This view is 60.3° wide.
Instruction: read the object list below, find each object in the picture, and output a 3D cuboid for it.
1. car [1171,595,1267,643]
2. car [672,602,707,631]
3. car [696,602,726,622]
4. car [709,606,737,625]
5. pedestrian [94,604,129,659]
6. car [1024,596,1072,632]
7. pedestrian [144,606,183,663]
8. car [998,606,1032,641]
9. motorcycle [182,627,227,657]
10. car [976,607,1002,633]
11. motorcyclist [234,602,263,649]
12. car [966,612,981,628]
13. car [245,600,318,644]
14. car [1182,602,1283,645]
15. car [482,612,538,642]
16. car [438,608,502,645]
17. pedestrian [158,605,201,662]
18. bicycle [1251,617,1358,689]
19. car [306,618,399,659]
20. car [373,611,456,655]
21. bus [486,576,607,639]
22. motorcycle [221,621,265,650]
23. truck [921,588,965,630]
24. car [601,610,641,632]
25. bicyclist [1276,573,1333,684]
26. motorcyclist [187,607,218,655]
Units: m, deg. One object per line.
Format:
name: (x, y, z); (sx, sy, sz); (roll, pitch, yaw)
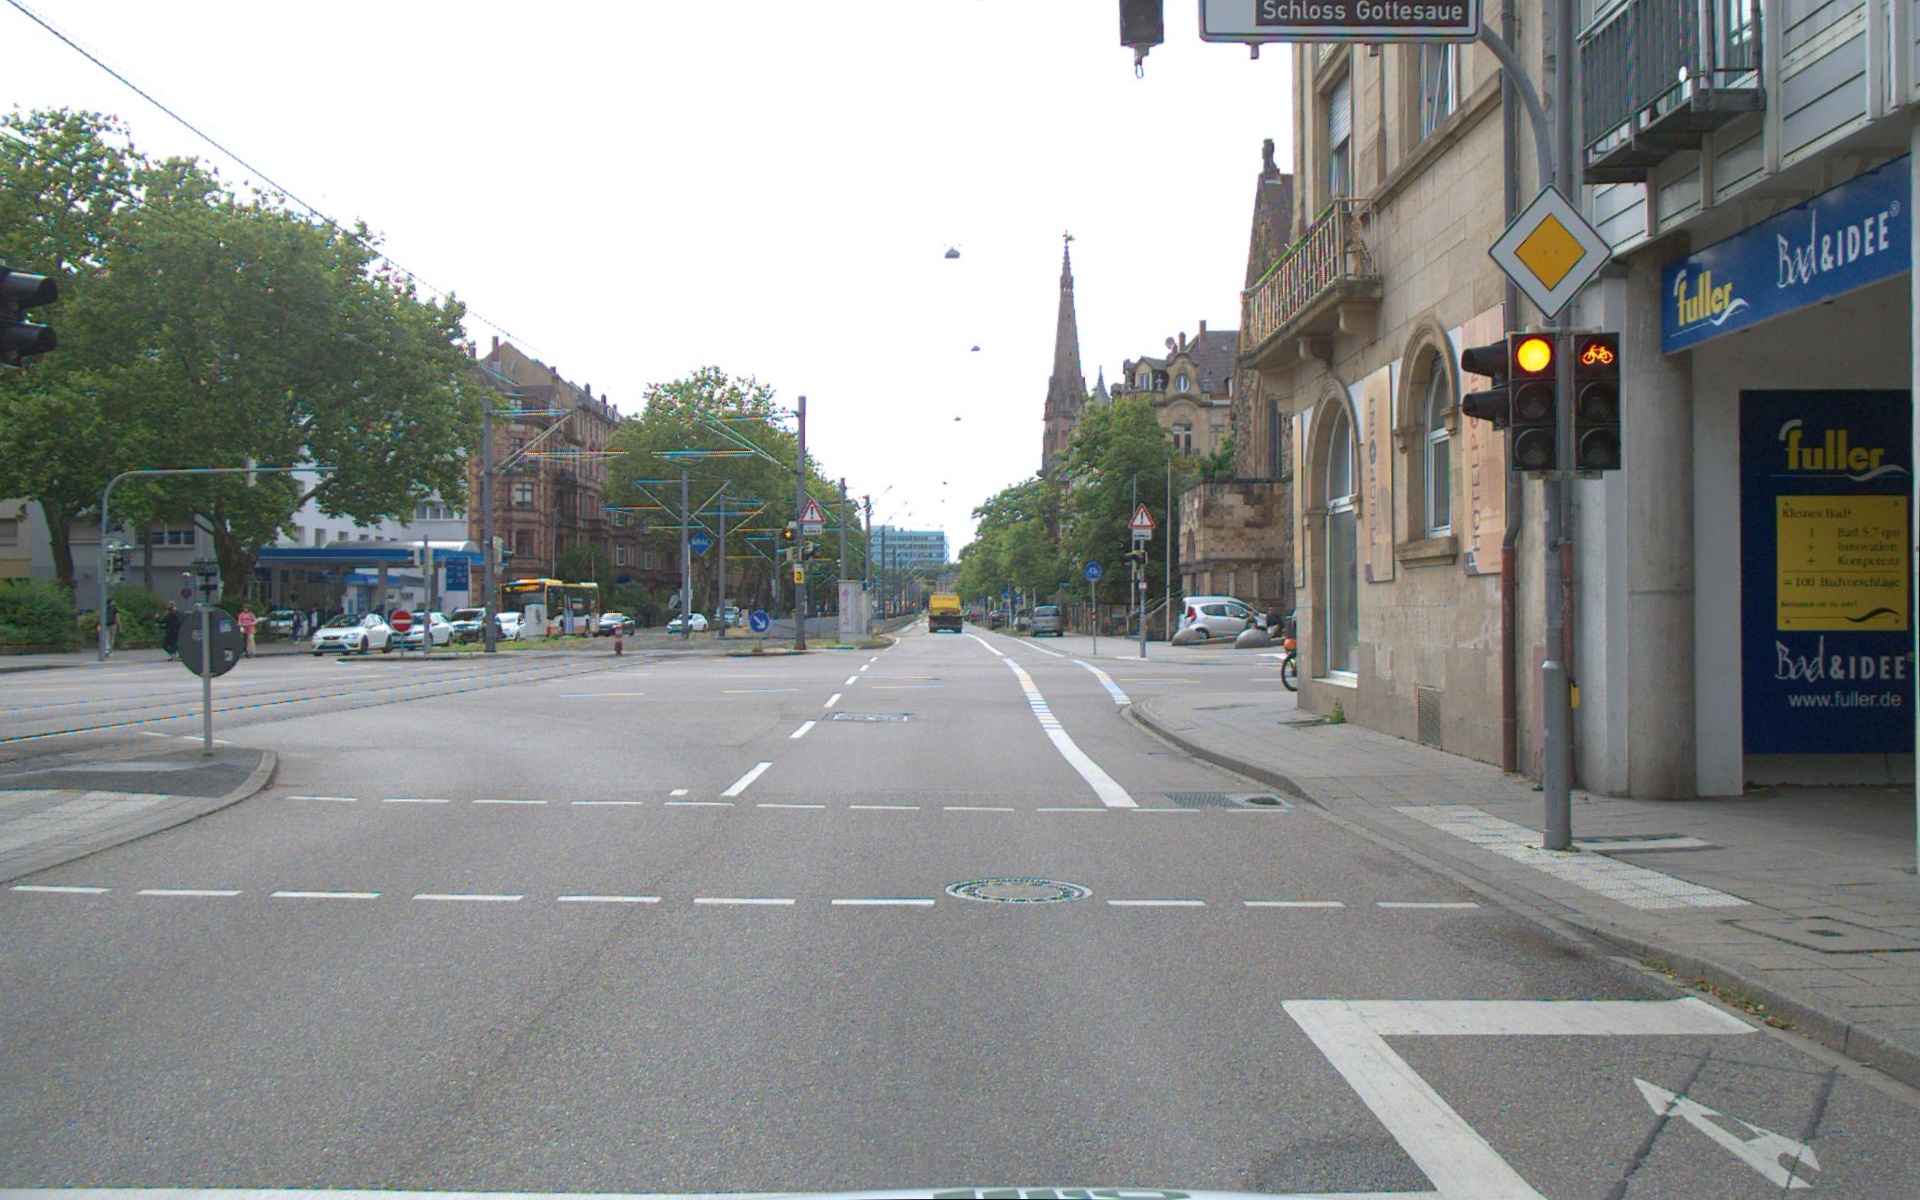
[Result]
car: (10.692, 0.790, 68.561); (3.638, 1.888, 2.000); (1, 0, -1)
car: (-20.086, 1.208, 122.884); (1.953, 2.049, 3.999); (1, 0, -1)
car: (-21.224, 1.017, 141.185); (1.953, 1.639, 3.999); (1, 0, -1)
car: (-21.341, 1.374, 148.995); (1.953, 1.639, 3.999); (1, 0, -1)
pedestrian: (-27.123, 1.001, 52.896); (0.669, 1.720, 0.742); (1, -1, 4)
car: (4.815, 0.766, 90.052); (1.951, 1.888, 4.030); (1, 0, 12)
pedestrian: (-24.480, 1.061, 50.827); (0.848, 1.743, 0.691); (0, 0, 14)
car: (3.288, 1.415, 99.670); (1.952, 2.049, 4.000); (1, 0, 1)
motorcycle: (-24.678, 1.366, 54.081); (0.594, 0.945, 1.951); (0, 0, 0)
car: (2.375, 1.620, 136.006); (1.953, 2.049, 3.999); (1, 0, -1)
motorcyclist: (-23.658, 0.854, 55.010); (0.607, 1.546, 0.873); (0, 0, -1)
car: (1.762, 2.650, 216.828); (1.953, 2.049, 3.999); (1, 0, -1)
car: (-32.932, 1.046, 80.380); (1.953, 2.049, 3.999); (0, 0, -1)
car: (10.676, 0.922, 65.036); (3.638, 1.591, 2.000); (1, 0, -1)
car: (-21.379, 1.280, 78.703); (1.622, 1.344, 3.638); (1, 0, 1)
car: (-21.222, 1.135, 71.785); (1.622, 1.504, 3.638); (1, 0, 1)
pedestrian: (-24.327, 1.042, 51.549); (0.853, 1.743, 0.876); (0, 0, 17)
bicycle: (6.427, 0.972, 30.797); (1.970, 1.294, 0.743); (1, -1, -31)
car: (-21.491, 1.327, 58.624); (1.711, 1.344, 4.075); (1, 0, 1)
car: (-21.422, 1.283, 65.131); (1.953, 1.622, 3.999); (1, 0, -1)
bus: (-21.966, 0.413, 88.757); (3.164, 3.088, 12.312); (1, 0, 1)
motorcycle: (-23.689, 1.164, 54.675); (0.594, 0.945, 1.951); (0, 0, 0)
truck: (-1.209, 0.618, 117.612); (2.993, 2.817, 9.814); (0, 0, 0)
car: (-21.048, 1.300, 102.816); (1.622, 1.344, 3.638); (1, 0, 1)
bicyclist: (6.408, 0.526, 30.807); (0.684, 2.049, 0.775); (1, -1, -29)
motorcyclist: (-24.676, 0.990, 53.911); (0.607, 1.546, 0.873); (0, 0, -1)
